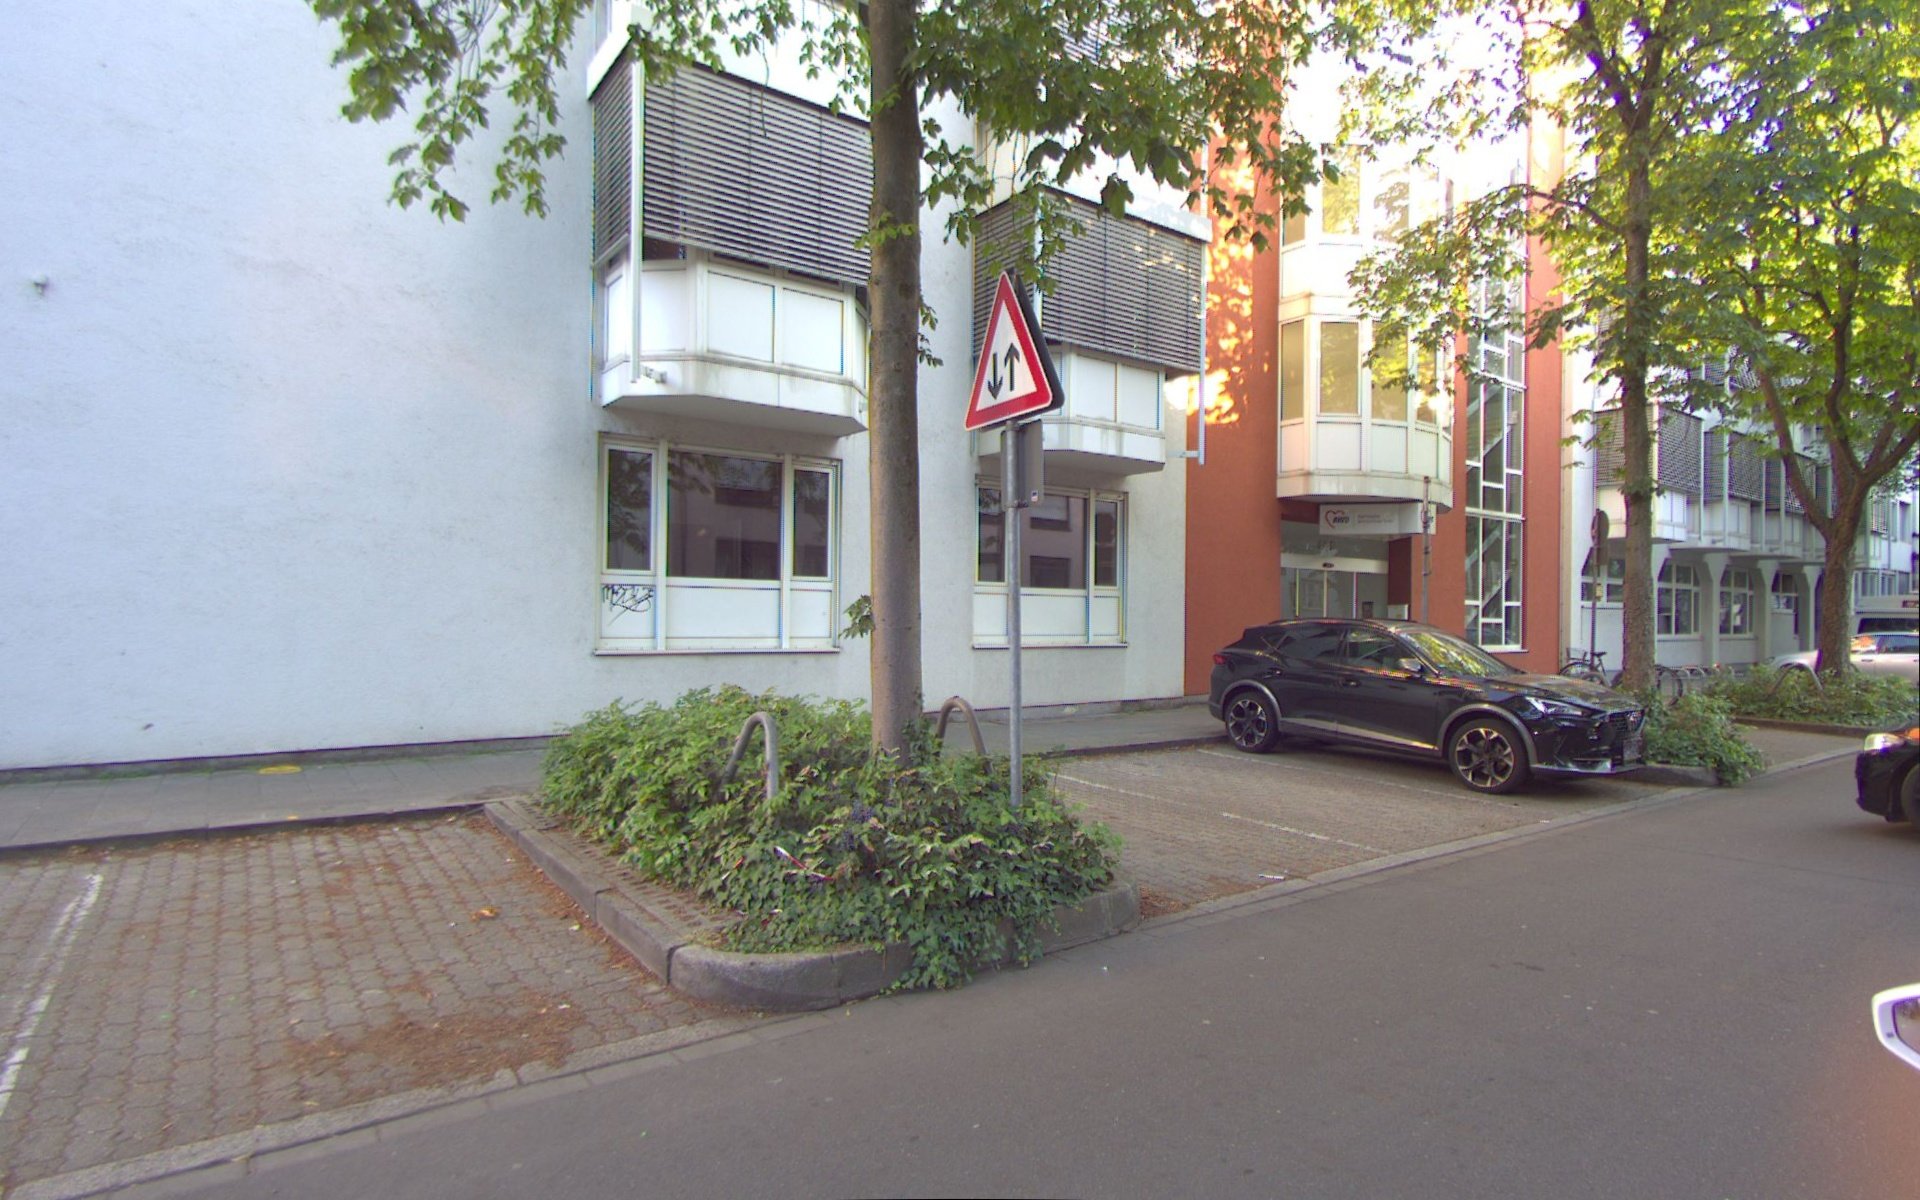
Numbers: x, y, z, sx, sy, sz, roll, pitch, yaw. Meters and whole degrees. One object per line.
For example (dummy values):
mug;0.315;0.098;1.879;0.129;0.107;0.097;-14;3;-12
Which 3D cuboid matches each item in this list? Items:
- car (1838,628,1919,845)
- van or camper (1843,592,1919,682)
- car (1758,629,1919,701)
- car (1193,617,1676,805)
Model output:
car;8.185;0.944;5.568;1.774;1.499;4.736;1;-1;-22
van or camper;27.900;1.050;28.023;1.981;2.511;4.632;1;-1;-36
car;21.159;1.460;23.223;1.767;1.537;3.942;1;-1;-35
car;4.712;0.964;10.600;1.768;1.537;4.325;1;-1;-35
